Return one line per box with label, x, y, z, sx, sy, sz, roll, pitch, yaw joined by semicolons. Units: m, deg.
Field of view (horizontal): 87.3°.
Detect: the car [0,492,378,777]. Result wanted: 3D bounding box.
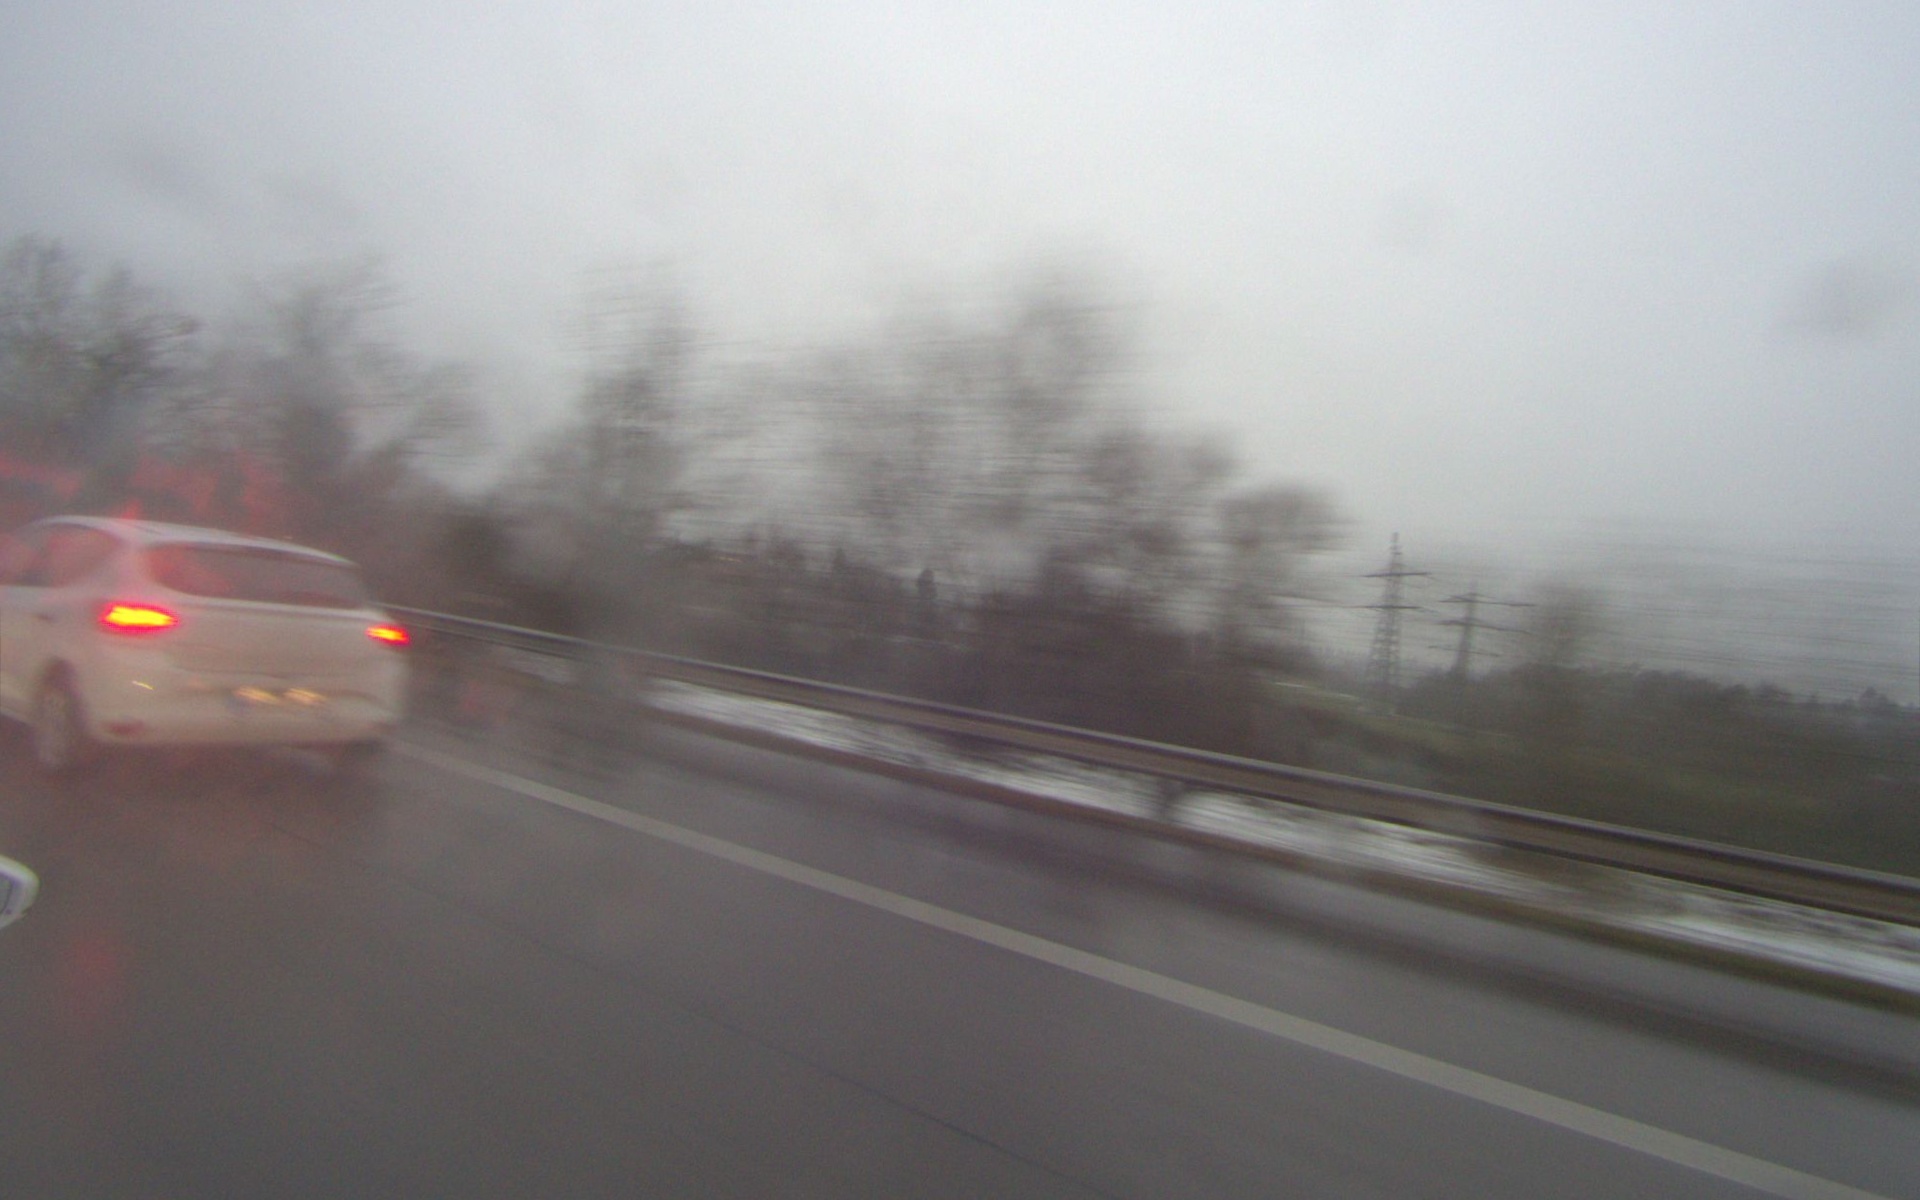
car;-6.267;0.075;7.278;3.933;1.521;1.800;7;0;31
